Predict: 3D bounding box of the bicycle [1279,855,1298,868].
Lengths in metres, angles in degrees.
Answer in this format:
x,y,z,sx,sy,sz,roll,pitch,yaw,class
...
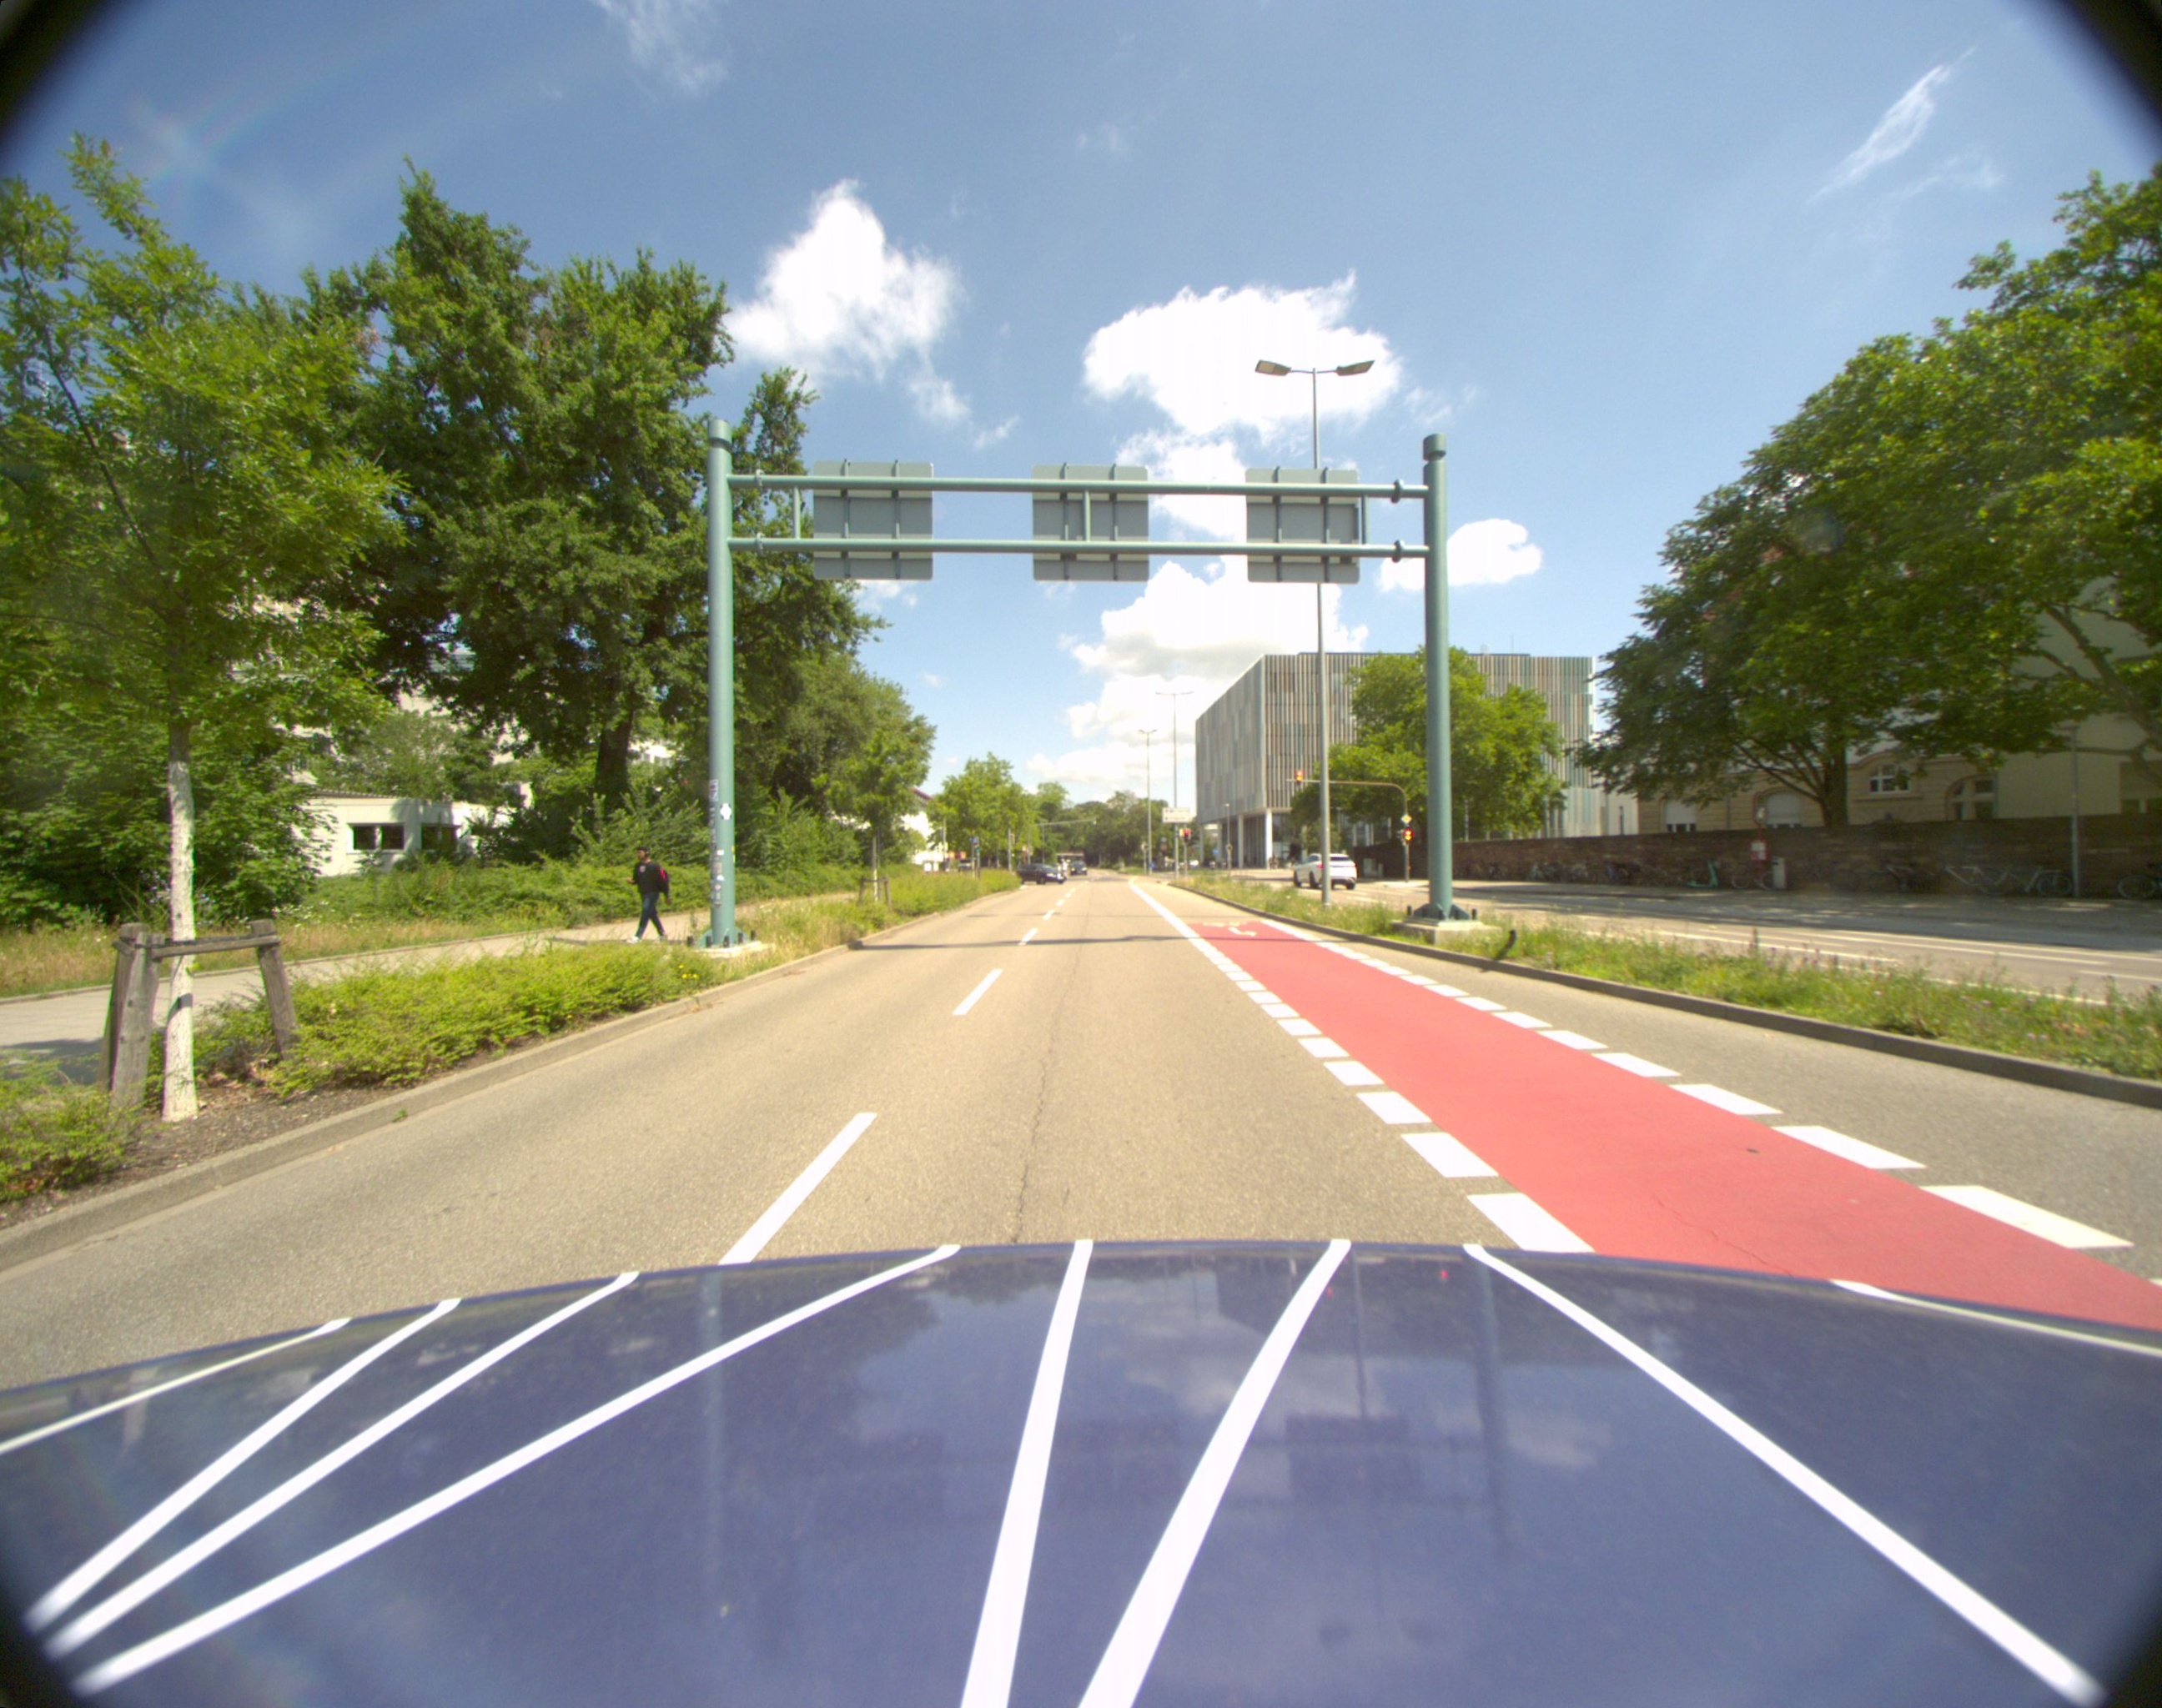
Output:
x,y,z,sx,sy,sz,roll,pitch,yaw,class
26.543,0.934,97.068,0.808,1.634,3.422,-1,0,42,bicycle

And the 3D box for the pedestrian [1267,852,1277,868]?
x,y,z,sx,sy,sz,roll,pitch,yaw,class
23.483,0.756,93.534,0.969,1.914,0.880,-1,1,30,pedestrian

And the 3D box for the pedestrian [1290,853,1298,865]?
x,y,z,sx,sy,sz,roll,pitch,yaw,class
30.728,0.659,109.584,1.012,1.697,1.212,-1,0,22,pedestrian

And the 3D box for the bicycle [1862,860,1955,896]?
x,y,z,sx,sy,sz,roll,pitch,yaw,class
25.616,0.726,23.572,0.545,1.041,1.948,-1,0,-11,bicycle

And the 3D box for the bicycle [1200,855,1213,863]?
x,y,z,sx,sy,sz,roll,pitch,yaw,class
23.270,0.988,141.278,2.302,1.486,0.657,-1,0,1,bicycle

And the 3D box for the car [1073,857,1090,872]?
x,y,z,sx,sy,sz,roll,pitch,yaw,class
-0.014,1.218,88.649,1.846,1.593,3.999,-1,0,-2,car

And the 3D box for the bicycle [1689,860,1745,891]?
x,y,z,sx,sy,sz,roll,pitch,yaw,class
24.552,0.817,29.338,0.534,1.145,1.591,-1,0,-21,bicycle

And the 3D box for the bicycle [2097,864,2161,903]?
x,y,z,sx,sy,sz,roll,pitch,yaw,class
26.441,0.717,18.685,0.545,0.944,1.664,-1,0,-11,bicycle

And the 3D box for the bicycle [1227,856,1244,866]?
x,y,z,sx,sy,sz,roll,pitch,yaw,class
24.331,1.149,119.804,2.509,1.486,0.730,-1,0,10,bicycle

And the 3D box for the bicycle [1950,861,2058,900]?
x,y,z,sx,sy,sz,roll,pitch,yaw,class
25.949,0.715,21.416,0.545,1.041,1.894,-1,0,-11,bicycle

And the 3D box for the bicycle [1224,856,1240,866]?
x,y,z,sx,sy,sz,roll,pitch,yaw,class
24.492,1.118,123.384,2.511,1.486,0.621,-1,0,1,bicycle

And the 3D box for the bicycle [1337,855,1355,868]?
x,y,z,sx,sy,sz,roll,pitch,yaw,class
31.989,0.859,91.683,0.997,1.543,3.422,-1,0,37,bicycle

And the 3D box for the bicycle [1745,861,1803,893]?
x,y,z,sx,sy,sz,roll,pitch,yaw,class
24.956,0.808,27.396,0.433,1.136,1.593,-1,0,-12,bicycle

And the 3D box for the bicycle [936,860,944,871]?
x,y,z,sx,sy,sz,roll,pitch,yaw,class
-16.875,1.373,91.087,0.885,1.244,2.164,-1,0,-9,bicycle

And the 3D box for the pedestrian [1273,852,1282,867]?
x,y,z,sx,sy,sz,roll,pitch,yaw,class
24.973,0.738,96.463,0.969,1.914,0.880,-1,1,27,pedestrian

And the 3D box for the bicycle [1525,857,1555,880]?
x,y,z,sx,sy,sz,roll,pitch,yaw,class
23.397,0.737,38.745,0.413,1.145,1.593,-1,0,-5,bicycle

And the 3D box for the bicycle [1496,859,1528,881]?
x,y,z,sx,sy,sz,roll,pitch,yaw,class
23.015,0.827,40.572,0.623,1.145,1.593,-1,0,-8,bicycle

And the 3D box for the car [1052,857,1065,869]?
x,y,z,sx,sy,sz,roll,pitch,yaw,class
-3.512,1.454,119.909,1.913,1.772,3.999,-1,0,-3,car

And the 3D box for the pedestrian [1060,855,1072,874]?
x,y,z,sx,sy,sz,roll,pitch,yaw,class
-1.538,1.075,78.038,1.108,1.914,0.972,-1,0,8,pedestrian

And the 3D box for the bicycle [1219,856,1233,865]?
x,y,z,sx,sy,sz,roll,pitch,yaw,class
23.904,1.108,125.583,2.200,1.486,0.621,-1,0,1,bicycle

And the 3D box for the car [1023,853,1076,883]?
x,y,z,sx,sy,sz,roll,pitch,yaw,class
-2.285,0.964,53.465,2.003,2.002,3.990,-1,0,-32,car

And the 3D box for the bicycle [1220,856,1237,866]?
x,y,z,sx,sy,sz,roll,pitch,yaw,class
23.748,1.135,122.487,2.511,1.486,0.621,-1,0,1,bicycle

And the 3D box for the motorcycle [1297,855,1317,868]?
x,y,z,sx,sy,sz,roll,pitch,yaw,class
28.378,0.900,95.497,0.969,1.630,3.305,-1,0,45,motorcycle

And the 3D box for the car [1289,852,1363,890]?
x,y,z,sx,sy,sz,roll,pitch,yaw,class
11.501,0.774,36.073,2.076,1.657,4.776,-1,0,2,car

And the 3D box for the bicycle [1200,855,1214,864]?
x,y,z,sx,sy,sz,roll,pitch,yaw,class
23.062,1.007,139.292,2.511,1.486,0.621,-1,0,1,bicycle

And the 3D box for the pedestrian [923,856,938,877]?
x,y,z,sx,sy,sz,roll,pitch,yaw,class
-13.680,1.159,69.020,0.877,1.861,0.973,-1,0,21,pedestrian

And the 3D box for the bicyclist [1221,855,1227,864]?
x,y,z,sx,sy,sz,roll,pitch,yaw,class
18.576,0.695,98.750,0.618,1.219,0.834,-1,0,2,bicyclist

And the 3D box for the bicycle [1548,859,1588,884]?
x,y,z,sx,sy,sz,roll,pitch,yaw,class
23.270,0.821,36.350,0.403,1.145,1.590,-1,0,-32,bicycle

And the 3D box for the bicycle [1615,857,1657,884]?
x,y,z,sx,sy,sz,roll,pitch,yaw,class
24.031,0.719,32.927,0.403,1.145,1.593,-1,0,-11,bicycle

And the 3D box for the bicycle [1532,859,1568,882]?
x,y,z,sx,sy,sz,roll,pitch,yaw,class
23.201,0.804,37.610,0.403,1.145,1.591,-1,0,-22,bicycle

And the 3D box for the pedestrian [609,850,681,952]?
x,y,z,sx,sy,sz,roll,pitch,yaw,class
-7.571,0.796,13.230,0.718,1.711,0.837,-1,1,2,pedestrian

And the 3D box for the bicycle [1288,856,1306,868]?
x,y,z,sx,sy,sz,roll,pitch,yaw,class
27.415,1.012,96.451,2.693,1.485,0.930,-1,0,-44,bicycle

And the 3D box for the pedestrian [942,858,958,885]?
x,y,z,sx,sy,sz,roll,pitch,yaw,class
-8.412,1.112,48.712,0.815,1.711,0.929,-1,0,2,pedestrian

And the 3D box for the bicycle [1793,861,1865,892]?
x,y,z,sx,sy,sz,roll,pitch,yaw,class
25.251,0.742,25.692,0.482,1.002,1.800,-1,0,-8,bicycle

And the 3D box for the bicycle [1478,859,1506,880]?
x,y,z,sx,sy,sz,roll,pitch,yaw,class
22.865,0.849,42.267,0.500,1.145,1.593,-1,0,-8,bicycle

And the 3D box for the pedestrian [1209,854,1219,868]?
x,y,z,sx,sy,sz,roll,pitch,yaw,class
16.424,0.876,94.131,0.972,1.619,0.878,-1,0,-9,pedestrian

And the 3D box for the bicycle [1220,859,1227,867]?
x,y,z,sx,sy,sz,roll,pitch,yaw,class
18.515,1.127,98.689,0.647,0.992,2.164,-1,0,3,bicycle

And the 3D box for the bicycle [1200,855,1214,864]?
x,y,z,sx,sy,sz,roll,pitch,yaw,class
23.172,0.999,139.992,2.511,1.486,0.621,-1,0,1,bicycle

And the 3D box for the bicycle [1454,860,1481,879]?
x,y,z,sx,sy,sz,roll,pitch,yaw,class
22.567,0.878,44.383,0.573,1.092,1.593,-1,0,-8,bicycle

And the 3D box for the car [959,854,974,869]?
x,y,z,sx,sy,sz,roll,pitch,yaw,class
-15.768,1.031,104.862,2.000,2.042,4.226,-1,0,-8,car

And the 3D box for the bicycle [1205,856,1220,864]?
x,y,z,sx,sy,sz,roll,pitch,yaw,class
23.274,1.044,134.484,2.511,1.486,0.621,-1,0,1,bicycle

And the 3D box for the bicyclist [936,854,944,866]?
x,y,z,sx,sy,sz,roll,pitch,yaw,class
-16.883,0.689,91.019,0.972,1.436,1.076,-1,0,-9,bicyclist

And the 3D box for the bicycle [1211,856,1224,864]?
x,y,z,sx,sy,sz,roll,pitch,yaw,class
23.686,1.059,131.919,2.071,1.486,0.621,-1,0,1,bicycle

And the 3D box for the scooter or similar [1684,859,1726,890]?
x,y,z,sx,sy,sz,roll,pitch,yaw,class
23.913,0.771,29.120,0.433,1.145,1.191,-1,0,-20,scooter or similar

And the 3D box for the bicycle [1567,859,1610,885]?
x,y,z,sx,sy,sz,roll,pitch,yaw,class
23.464,0.828,35.145,0.403,1.145,1.590,-1,0,-32,bicycle

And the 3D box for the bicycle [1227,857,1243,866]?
x,y,z,sx,sy,sz,roll,pitch,yaw,class
24.042,1.162,118.799,2.451,1.486,0.621,-1,0,1,bicycle

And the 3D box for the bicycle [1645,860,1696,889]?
x,y,z,sx,sy,sz,roll,pitch,yaw,class
24.076,0.810,31.079,0.534,1.145,1.591,-1,0,-21,bicycle
